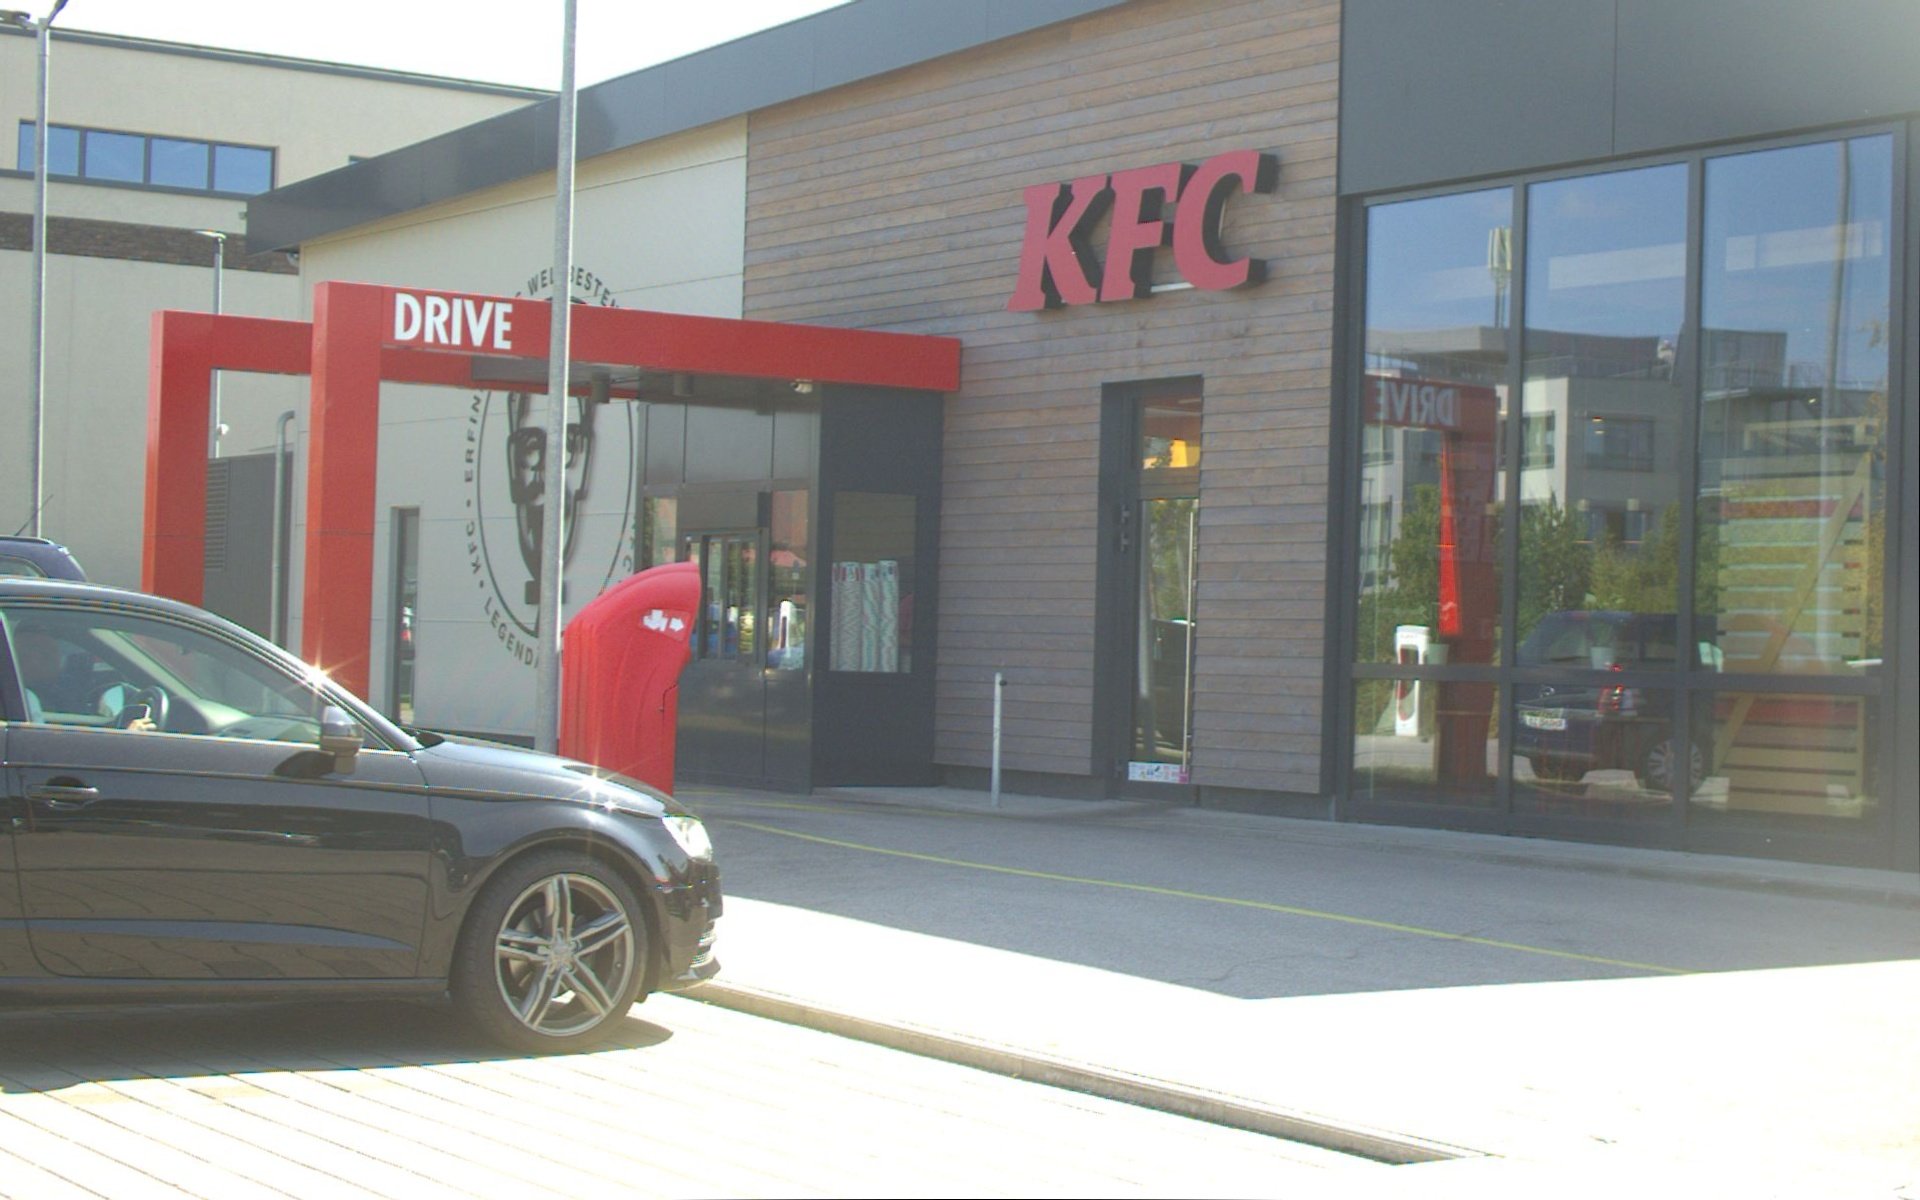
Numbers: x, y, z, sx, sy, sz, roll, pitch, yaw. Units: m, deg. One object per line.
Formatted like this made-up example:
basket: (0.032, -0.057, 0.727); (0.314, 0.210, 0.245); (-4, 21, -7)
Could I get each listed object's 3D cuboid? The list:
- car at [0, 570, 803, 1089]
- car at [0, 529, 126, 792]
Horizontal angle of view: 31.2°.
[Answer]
car: (-2.739, 0.636, 10.473); (4.200, 1.436, 1.698); (2, 0, -34)
car: (-7.712, 0.330, 21.783); (4.371, 1.680, 1.641); (2, 0, -38)
